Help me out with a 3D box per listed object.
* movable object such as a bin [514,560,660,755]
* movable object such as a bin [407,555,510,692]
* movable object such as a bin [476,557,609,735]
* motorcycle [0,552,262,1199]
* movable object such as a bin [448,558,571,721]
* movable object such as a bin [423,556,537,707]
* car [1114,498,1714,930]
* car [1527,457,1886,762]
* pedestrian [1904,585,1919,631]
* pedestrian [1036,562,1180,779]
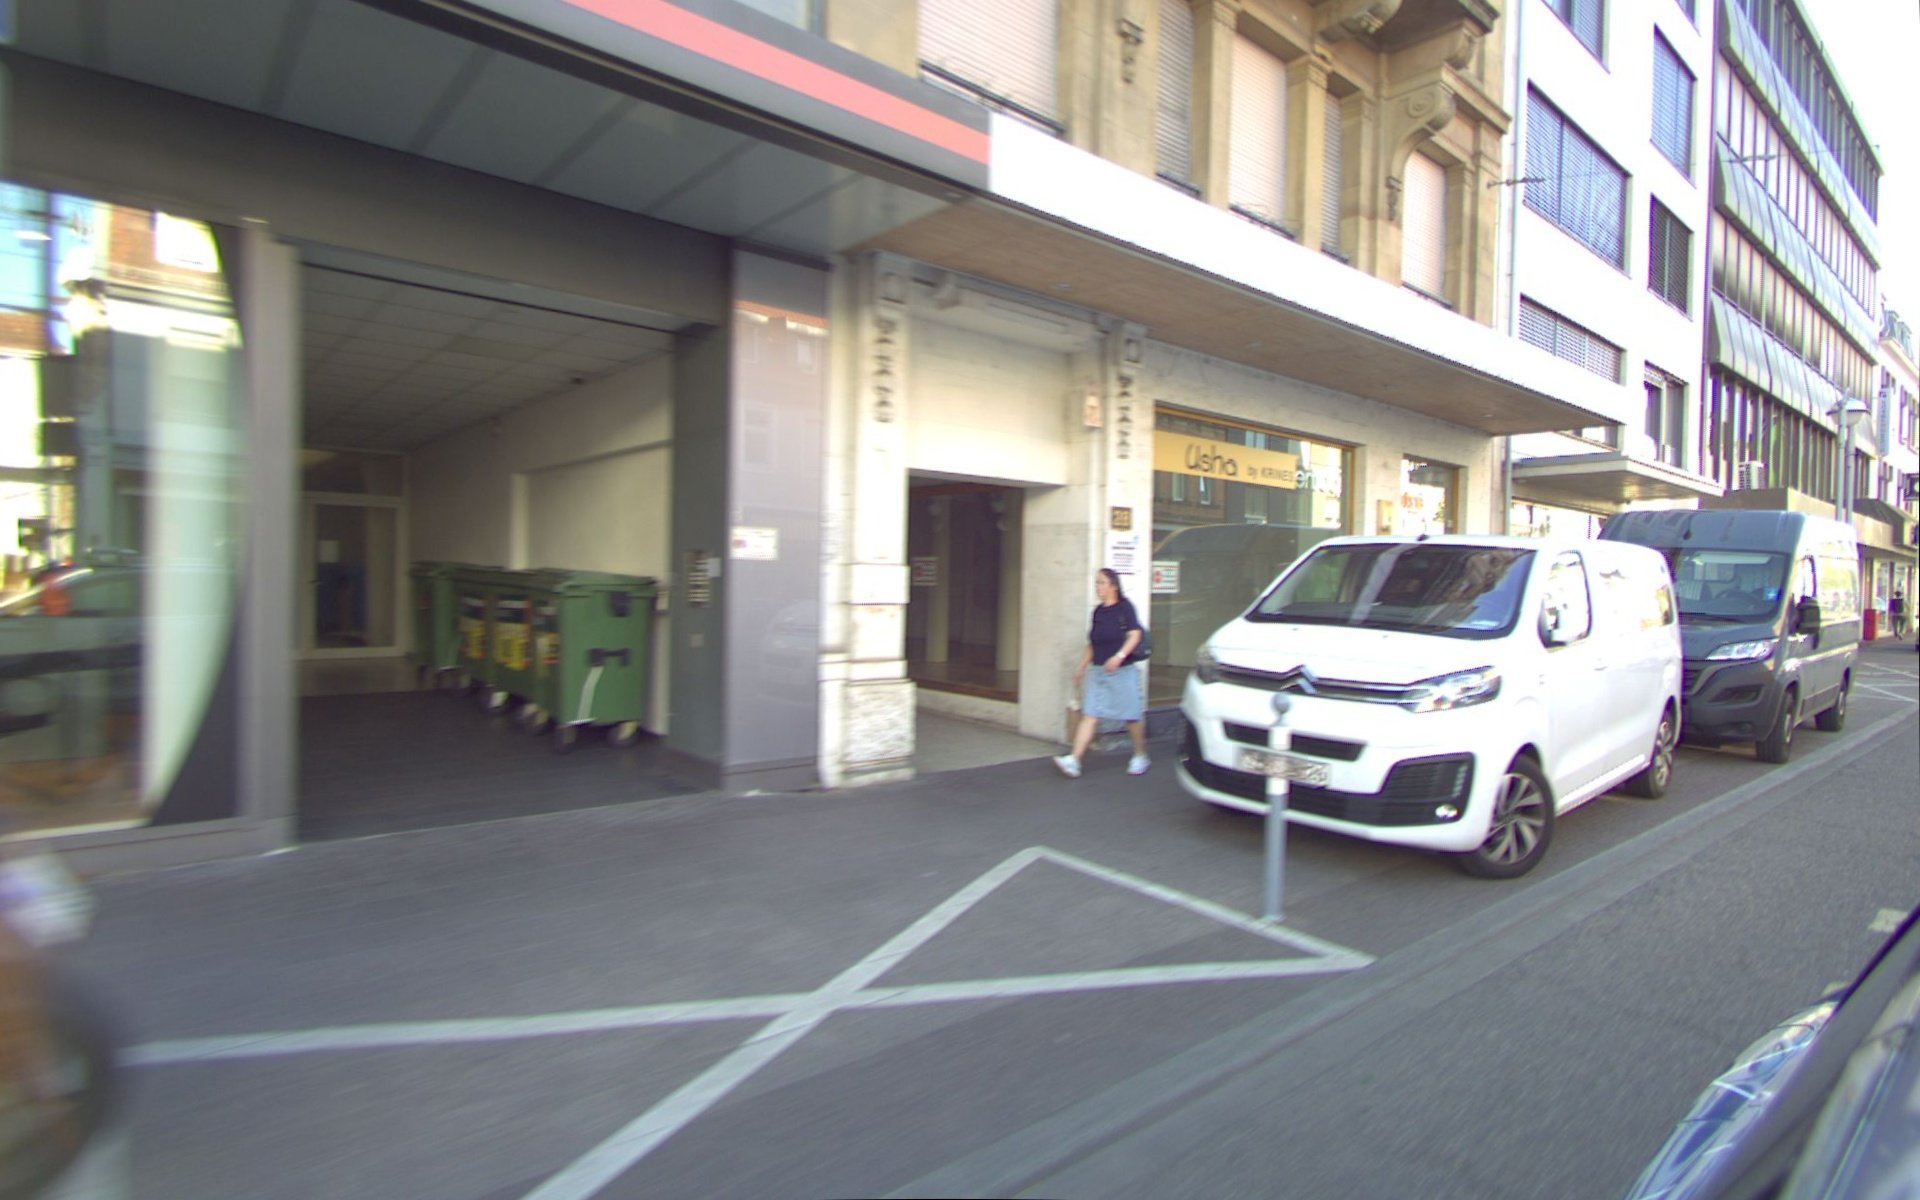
[{"bbox_3d":[-2.880,0.396,7.793,0.787,1.377,0.881,0,2,-41],"label":"movable object such as a bin"},{"bbox_3d":[-5.356,0.221,10.801,0.787,1.377,0.881,0,2,-41],"label":"movable object such as a bin"},{"bbox_3d":[-3.504,0.344,8.477,0.787,1.377,0.881,0,2,-41],"label":"movable object such as a bin"},{"bbox_3d":[-2.622,0.628,1.743,2.282,1.449,0.660,-1,2,-42],"label":"motorcycle"},{"bbox_3d":[-4.098,0.325,9.190,0.787,1.377,0.881,0,2,-41],"label":"movable object such as a bin"},{"bbox_3d":[-4.690,0.274,9.881,0.787,1.377,0.881,0,2,-41],"label":"movable object such as a bin"},{"bbox_3d":[3.369,0.446,6.930,4.798,1.934,2.048,-1,3,-44],"label":"car"},{"bbox_3d":[8.331,0.143,11.038,5.587,2.533,2.049,2,-2,-42],"label":"car"},{"bbox_3d":[35.534,0.276,37.656,0.731,1.696,0.513,0,-1,-41],"label":"pedestrian"},{"bbox_3d":[1.114,0.485,7.627,0.800,1.527,0.696,0,1,-41],"label":"pedestrian"}]
